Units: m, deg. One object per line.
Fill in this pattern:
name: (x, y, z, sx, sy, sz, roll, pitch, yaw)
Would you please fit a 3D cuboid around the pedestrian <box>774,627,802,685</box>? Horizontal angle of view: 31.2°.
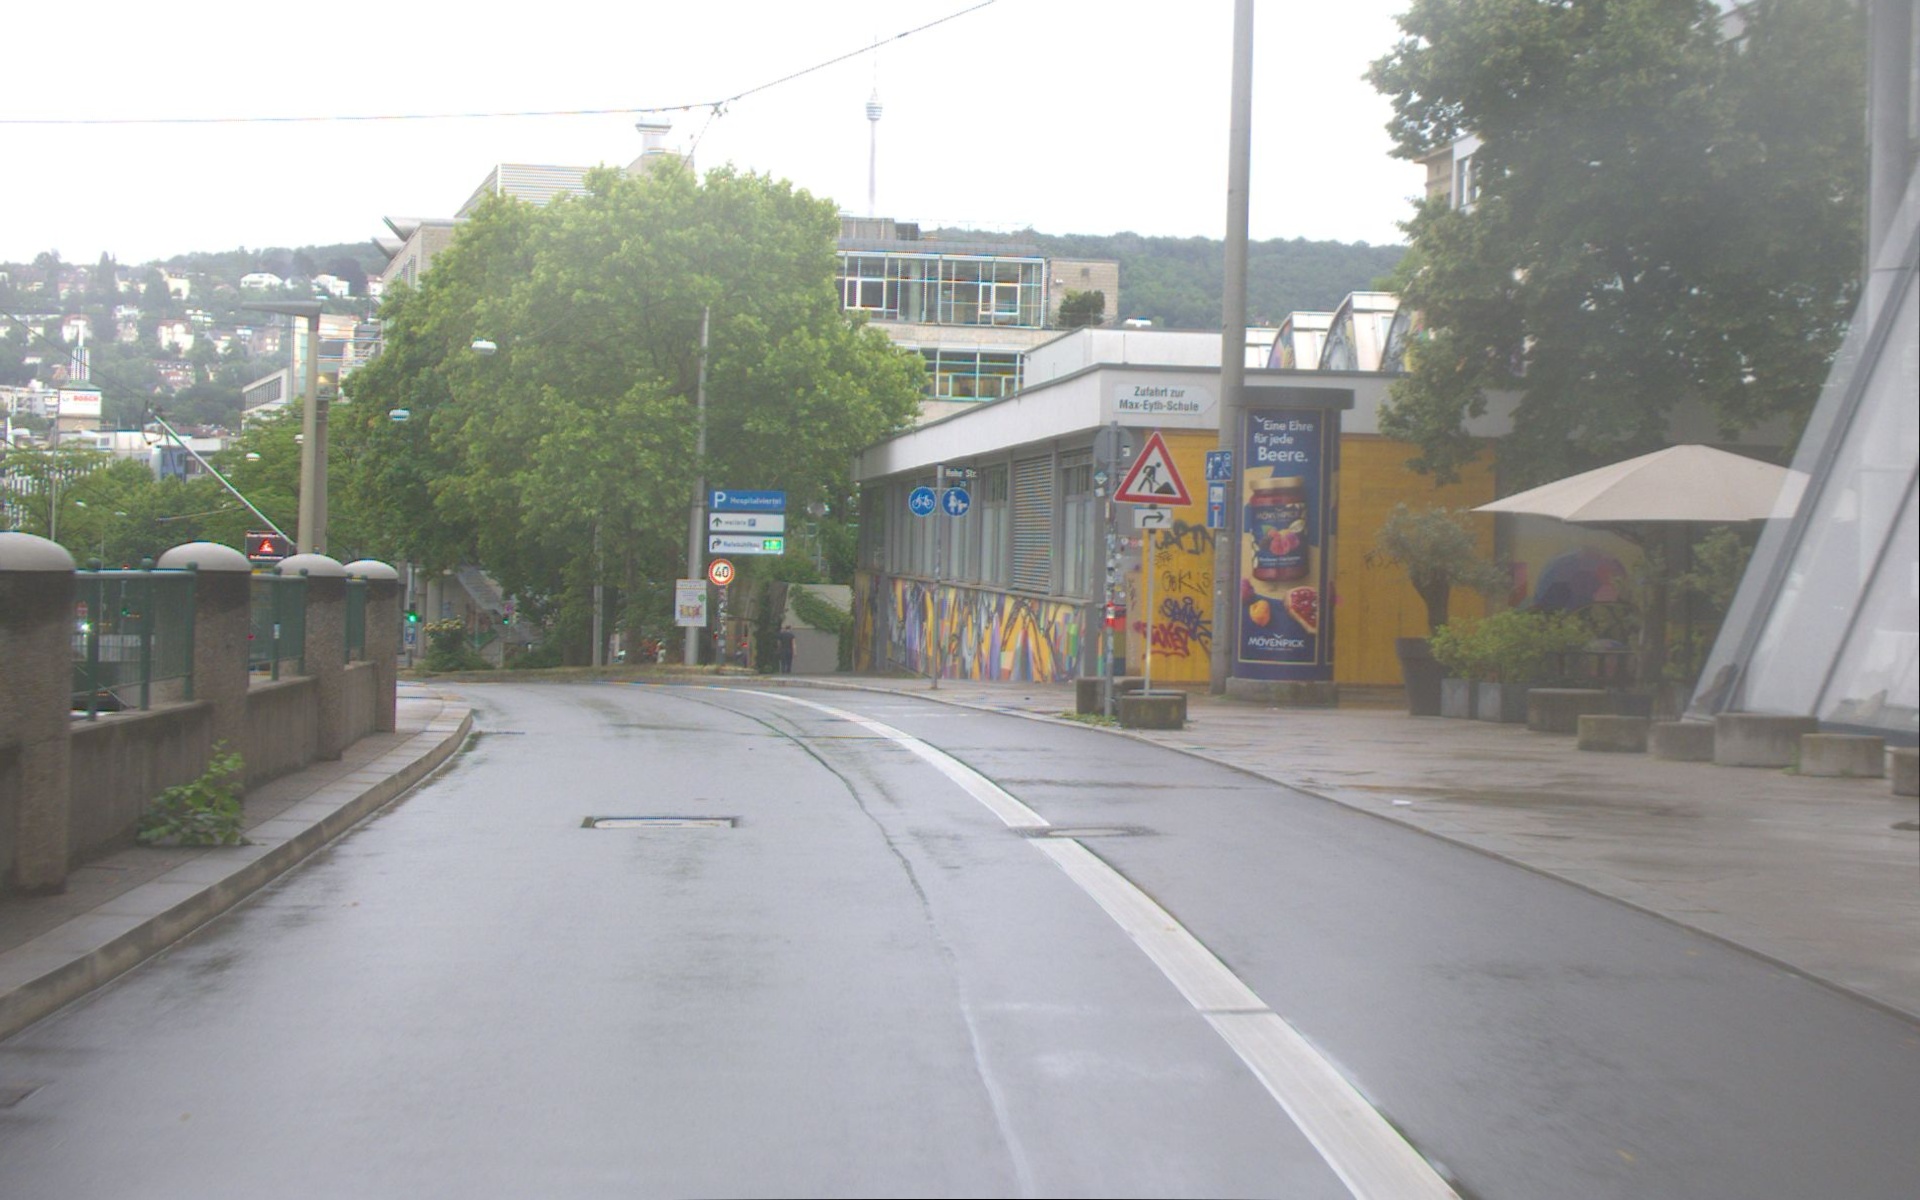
pedestrian: (-5.516, 1.788, 110.167, 0.807, 1.858, 1.056, 0, -1, -8)
